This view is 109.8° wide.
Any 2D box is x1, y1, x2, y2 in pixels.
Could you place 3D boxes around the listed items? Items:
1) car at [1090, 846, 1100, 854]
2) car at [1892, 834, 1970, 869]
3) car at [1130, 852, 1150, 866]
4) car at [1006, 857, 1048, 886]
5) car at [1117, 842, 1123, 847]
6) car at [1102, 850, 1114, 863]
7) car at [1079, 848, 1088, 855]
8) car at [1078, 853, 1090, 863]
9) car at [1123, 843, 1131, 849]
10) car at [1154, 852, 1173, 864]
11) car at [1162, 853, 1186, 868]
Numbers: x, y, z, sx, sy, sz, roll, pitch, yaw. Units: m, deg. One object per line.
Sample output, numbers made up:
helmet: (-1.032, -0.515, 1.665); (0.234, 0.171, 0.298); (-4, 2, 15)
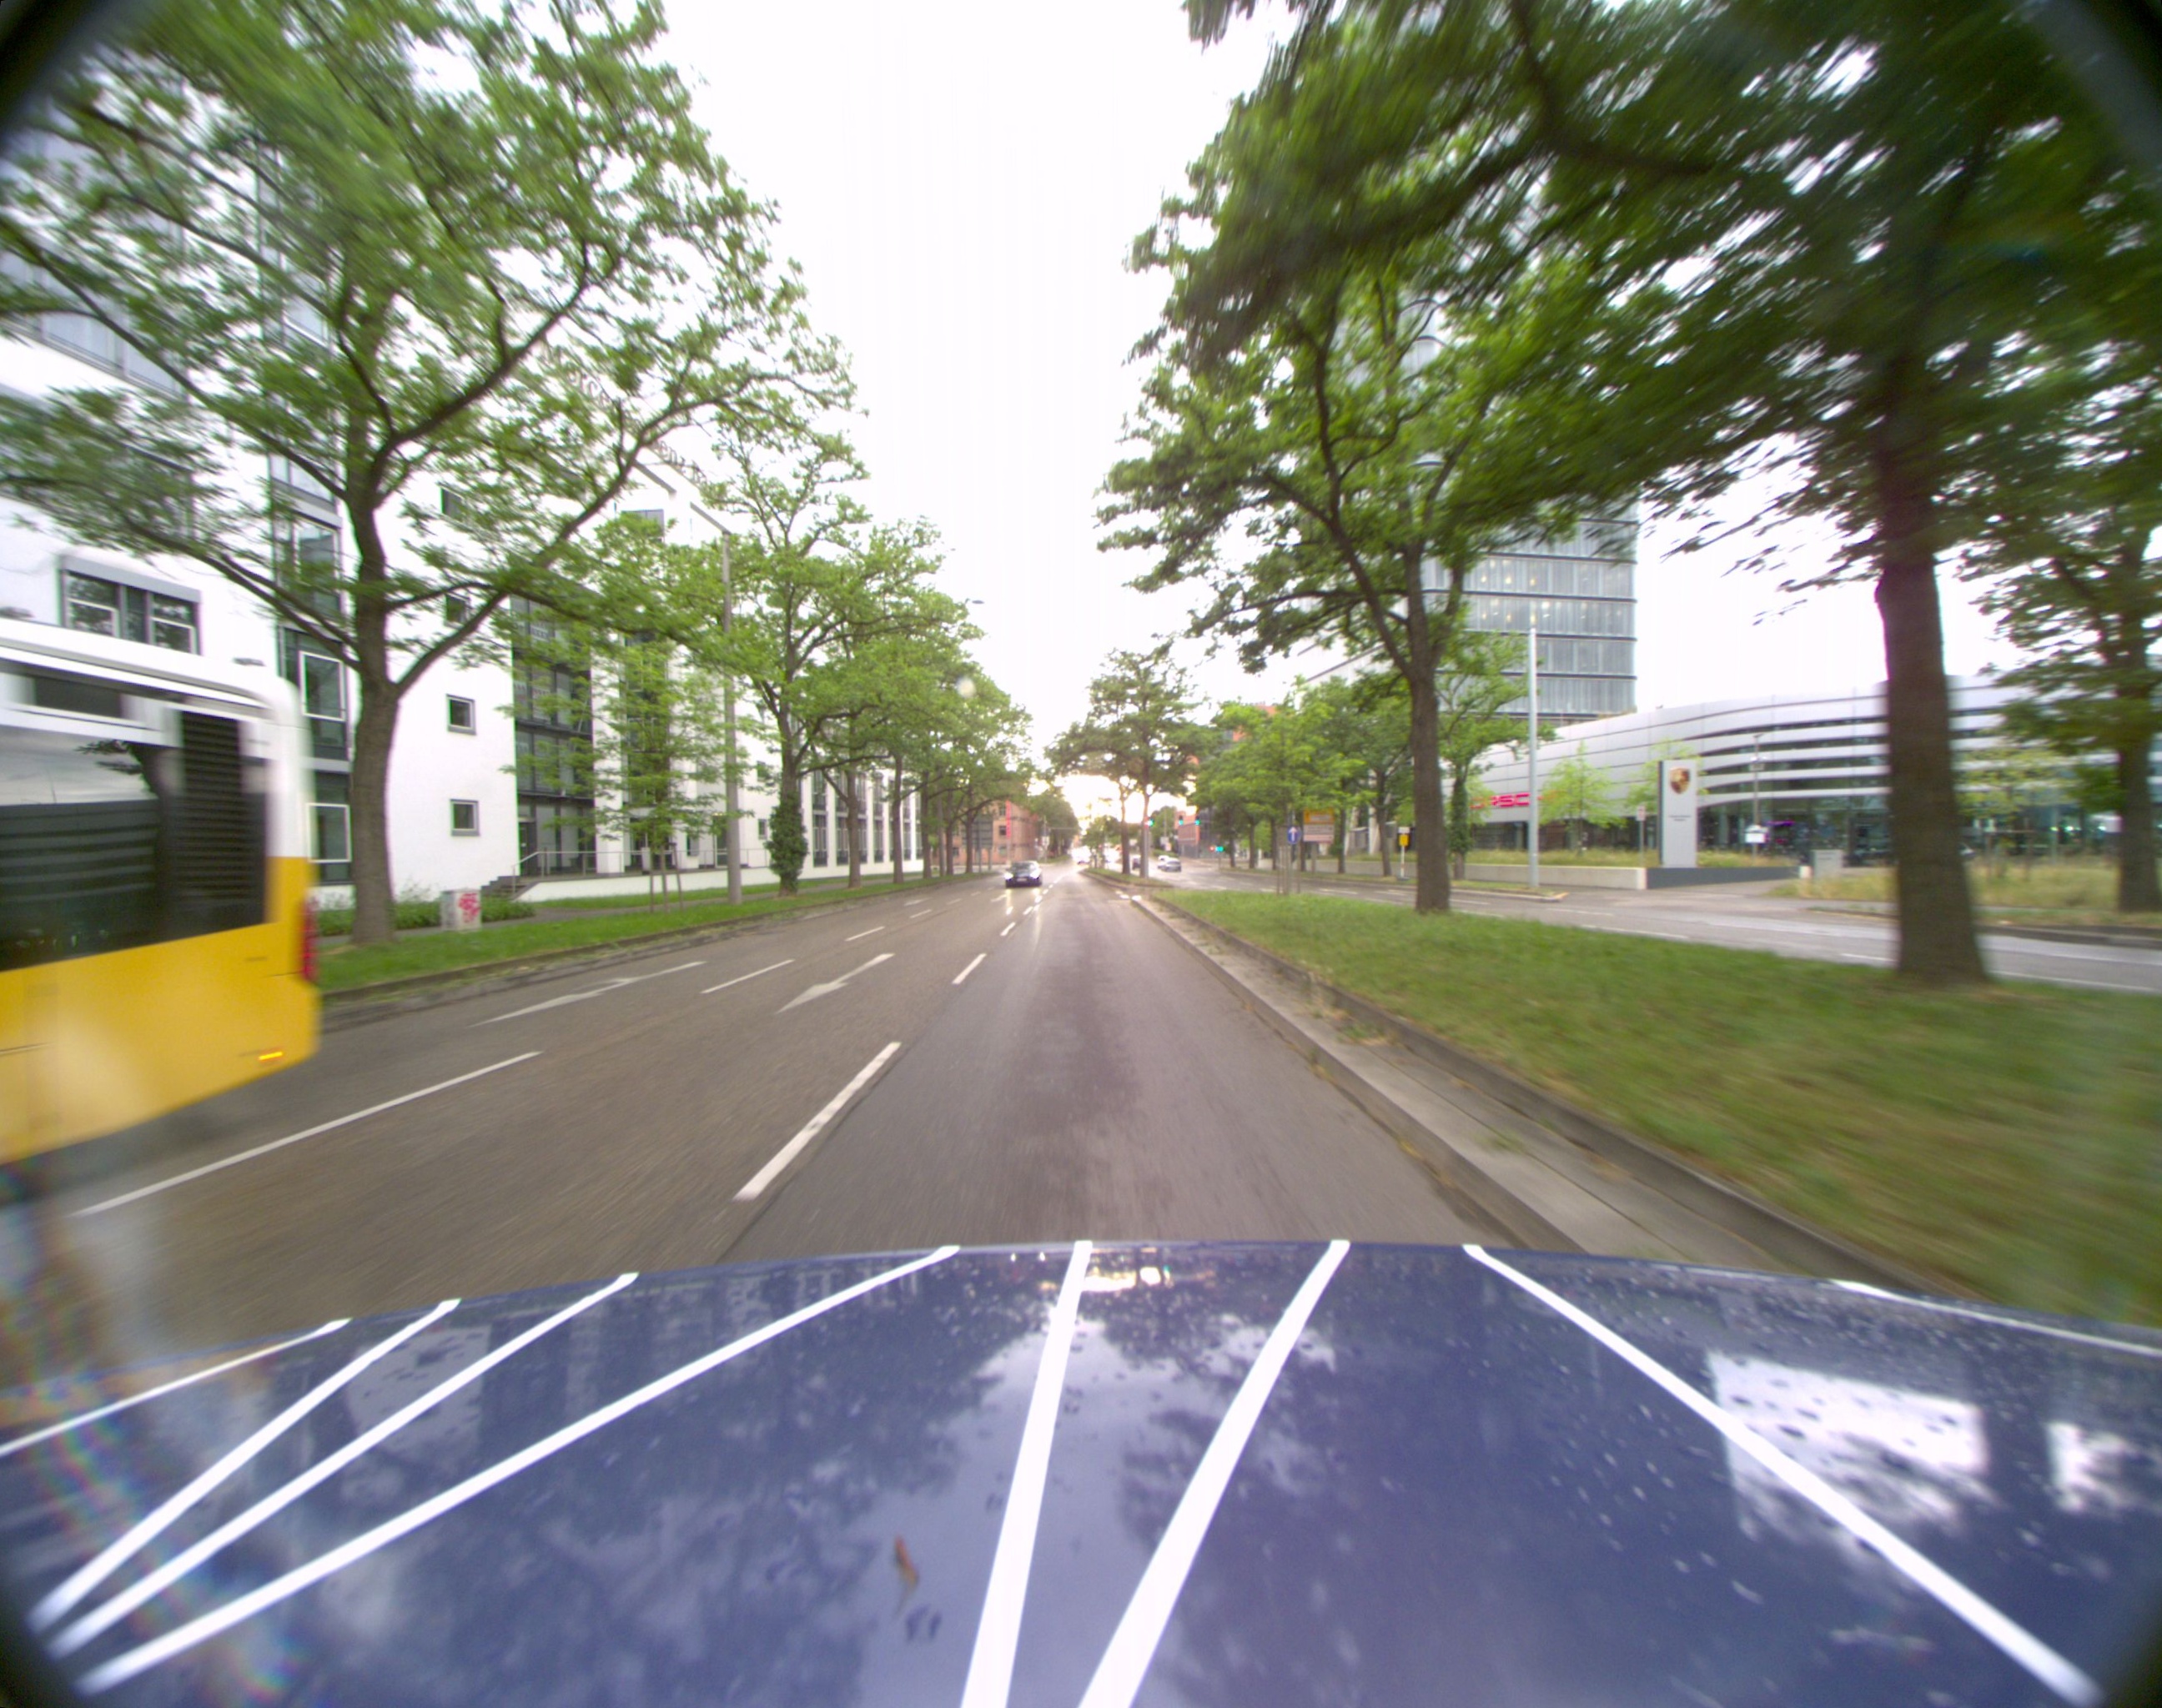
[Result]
car: (3.059, -0.820, 163.624); (1.998, 1.707, 4.000); (-1, 0, 2)
car: (39.420, -0.119, 35.218); (4.006, 1.405, 1.774); (-4, 1, -32)
car: (6.996, 0.527, 90.204); (1.846, 1.581, 4.172); (0, 1, -2)
car: (-2.959, 0.920, 42.228); (1.878, 1.346, 4.331); (-3, 1, 1)
car: (13.121, -3.240, 256.097); (1.782, 1.445, 4.002); (-3, 1, 8)
car: (4.496, 0.403, 127.265); (1.998, 2.002, 4.000); (-1, 0, 2)
car: (0.630, -0.513, 178.306); (1.998, 1.576, 4.000); (-1, 0, 2)
car: (0.537, 0.680, 120.057); (1.625, 1.426, 3.551); (-3, 1, 4)
car: (11.825, -2.014, 196.232); (1.783, 1.445, 3.998); (-3, 1, -2)
car: (10.623, 0.505, 97.765); (1.783, 1.445, 3.998); (-3, 1, -2)
car: (10.063, 0.648, 82.610); (1.894, 1.445, 3.998); (-3, 1, -2)
